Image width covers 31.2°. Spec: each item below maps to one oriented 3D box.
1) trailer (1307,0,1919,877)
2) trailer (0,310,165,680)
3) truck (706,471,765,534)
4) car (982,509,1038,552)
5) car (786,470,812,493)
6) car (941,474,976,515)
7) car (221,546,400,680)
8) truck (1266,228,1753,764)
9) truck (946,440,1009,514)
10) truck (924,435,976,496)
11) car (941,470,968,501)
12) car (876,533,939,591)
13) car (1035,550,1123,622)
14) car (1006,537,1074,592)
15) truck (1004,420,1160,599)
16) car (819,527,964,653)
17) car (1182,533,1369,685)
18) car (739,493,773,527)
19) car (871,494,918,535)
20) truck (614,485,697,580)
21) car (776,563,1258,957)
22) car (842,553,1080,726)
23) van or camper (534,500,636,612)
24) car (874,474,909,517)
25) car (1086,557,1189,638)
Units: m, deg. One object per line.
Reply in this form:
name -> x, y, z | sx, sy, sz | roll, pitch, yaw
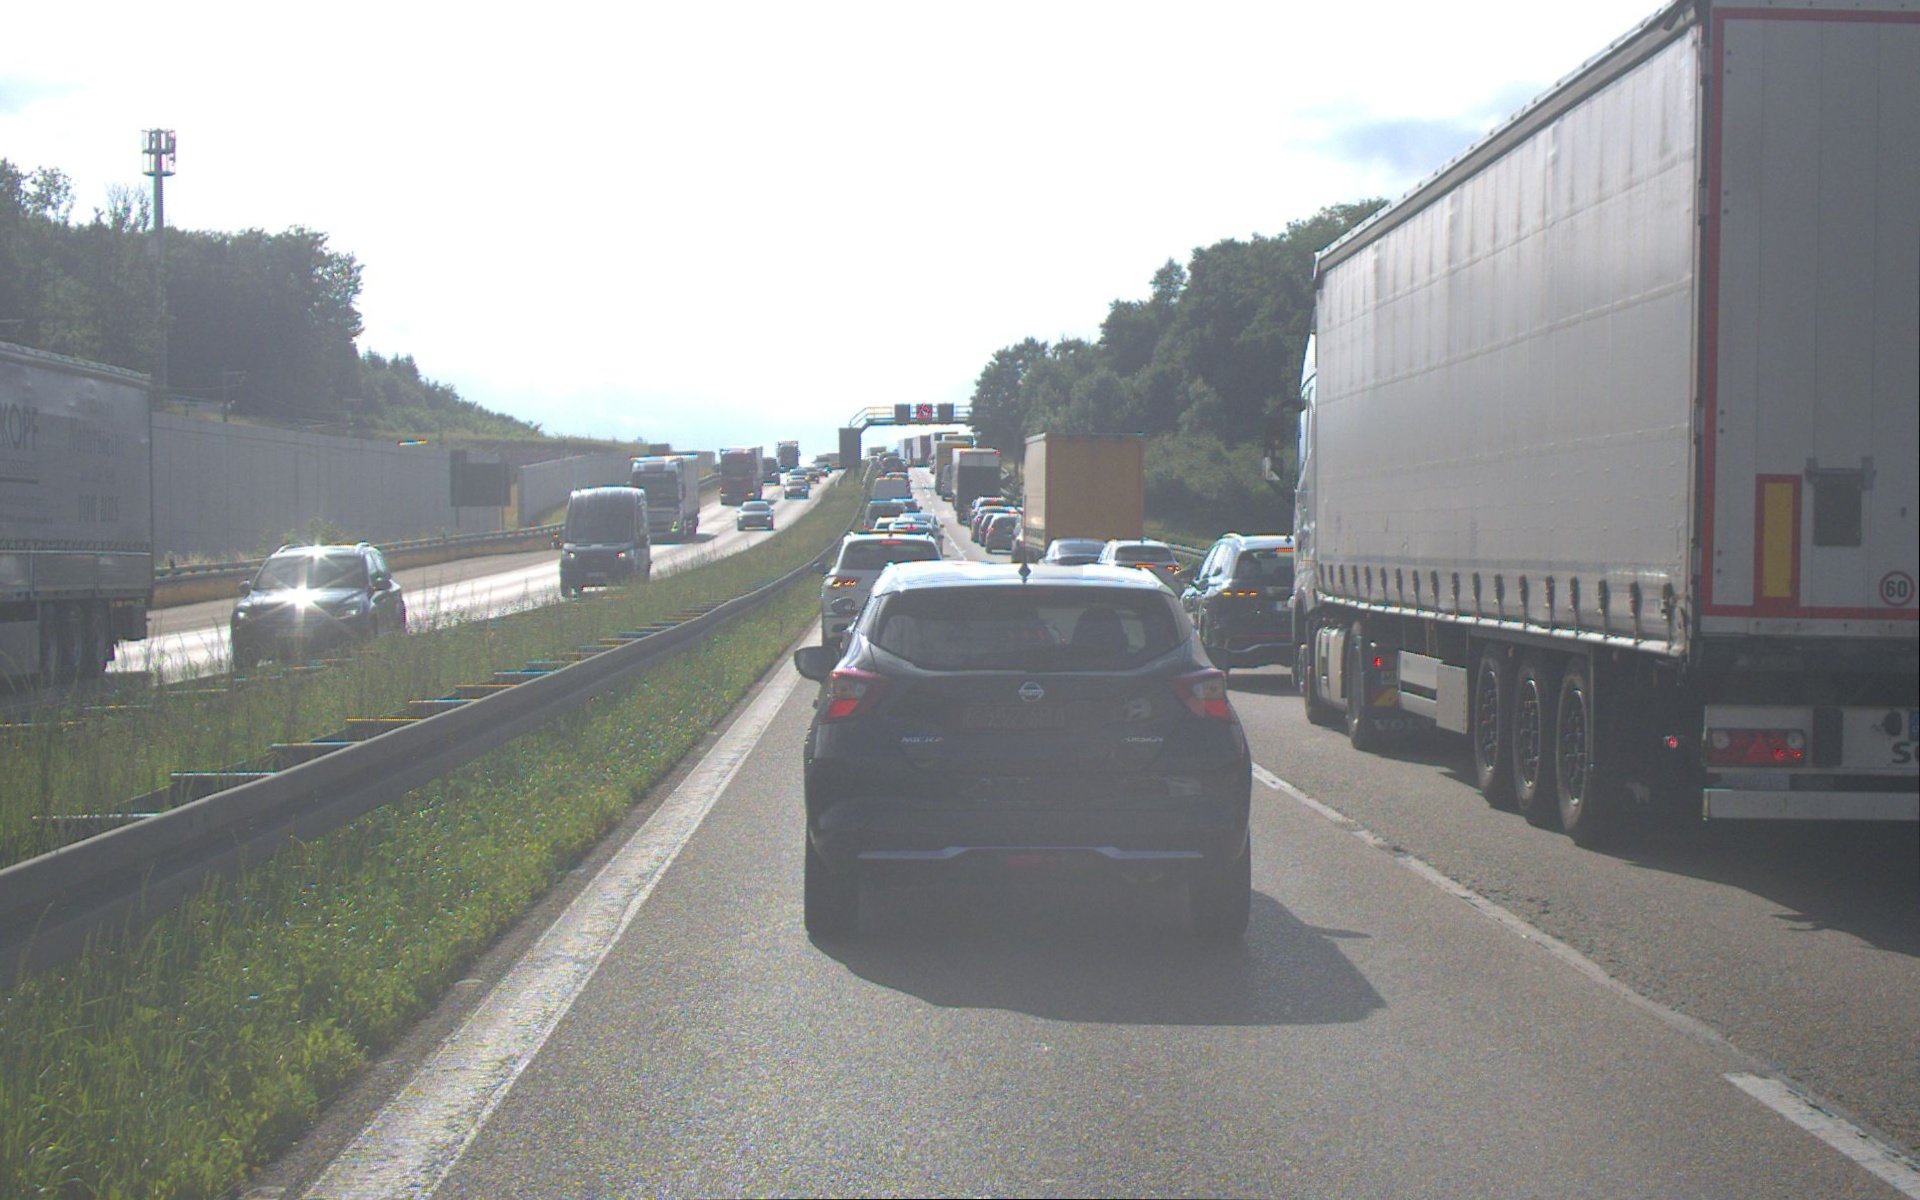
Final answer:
trailer -> 4.447, -0.793, 21.163 | 3.130, 3.997, 13.366 | 1, 0, 0
trailer -> -12.024, -1.189, 40.401 | 2.389, 4.168, 13.204 | -1, 0, -1
truck -> -16.349, -7.080, 251.383 | 3.297, 4.539, 12.441 | 0, 1, 1
car -> 1.962, -2.793, 137.177 | 1.873, 1.638, 4.233 | 0, 2, -4
car -> -12.179, -8.945, 260.200 | 1.744, 1.700, 4.232 | 1, 2, 0
car -> -0.091, -5.985, 194.164 | 1.873, 2.151, 5.212 | 0, 3, -1
car -> -8.577, 0.149, 45.688 | 1.708, 1.700, 4.174 | 0, 0, -2
truck -> 4.369, -0.777, 28.465 | 3.133, 4.002, 5.163 | 1, 0, 0
truck -> 1.057, -7.824, 219.638 | 3.464, 4.561, 12.443 | 1, 2, -2
truck -> -0.796, -10.333, 265.262 | 3.464, 4.561, 12.443 | 1, 2, -2
car -> -0.389, -8.296, 248.991 | 1.873, 2.151, 5.212 | 0, 3, -1
car -> -1.577, -1.163, 104.046 | 1.873, 1.638, 4.233 | 0, 2, -1
car -> 2.808, -0.359, 81.870 | 1.873, 1.638, 4.232 | 0, 1, -1
car -> 2.447, -1.098, 105.815 | 1.873, 1.638, 4.233 | 0, 1, -2
truck -> 3.214, -2.341, 94.666 | 3.296, 4.562, 12.441 | 1, 0, -2
car -> -0.920, -0.153, 46.828 | 1.873, 1.638, 4.232 | 0, 1, -1
car -> 3.470, 0.073, 38.506 | 1.697, 1.605, 4.437 | 0, 1, 0
car -> -11.006, -4.842, 185.342 | 1.743, 1.700, 4.232 | 0, 0, -2
car -> -2.750, -3.561, 143.293 | 1.873, 1.638, 4.233 | 0, 2, -2
truck -> -15.054, -3.358, 170.724 | 3.296, 4.561, 12.442 | 0, 1, -1
car -> 0.180, 0.569, 14.792 | 1.773, 1.446, 4.232 | 0, 1, -1
car -> -0.021, 0.291, 29.151 | 1.873, 1.353, 4.232 | 0, 1, -1
van or camper -> -9.757, -1.115, 89.827 | 2.090, 2.810, 5.896 | 1, 0, -1
car -> -3.753, -5.723, 187.822 | 1.873, 2.151, 5.212 | 0, 3, -1
car -> 3.665, -0.059, 71.733 | 1.873, 1.639, 4.232 | 0, 0, -1
